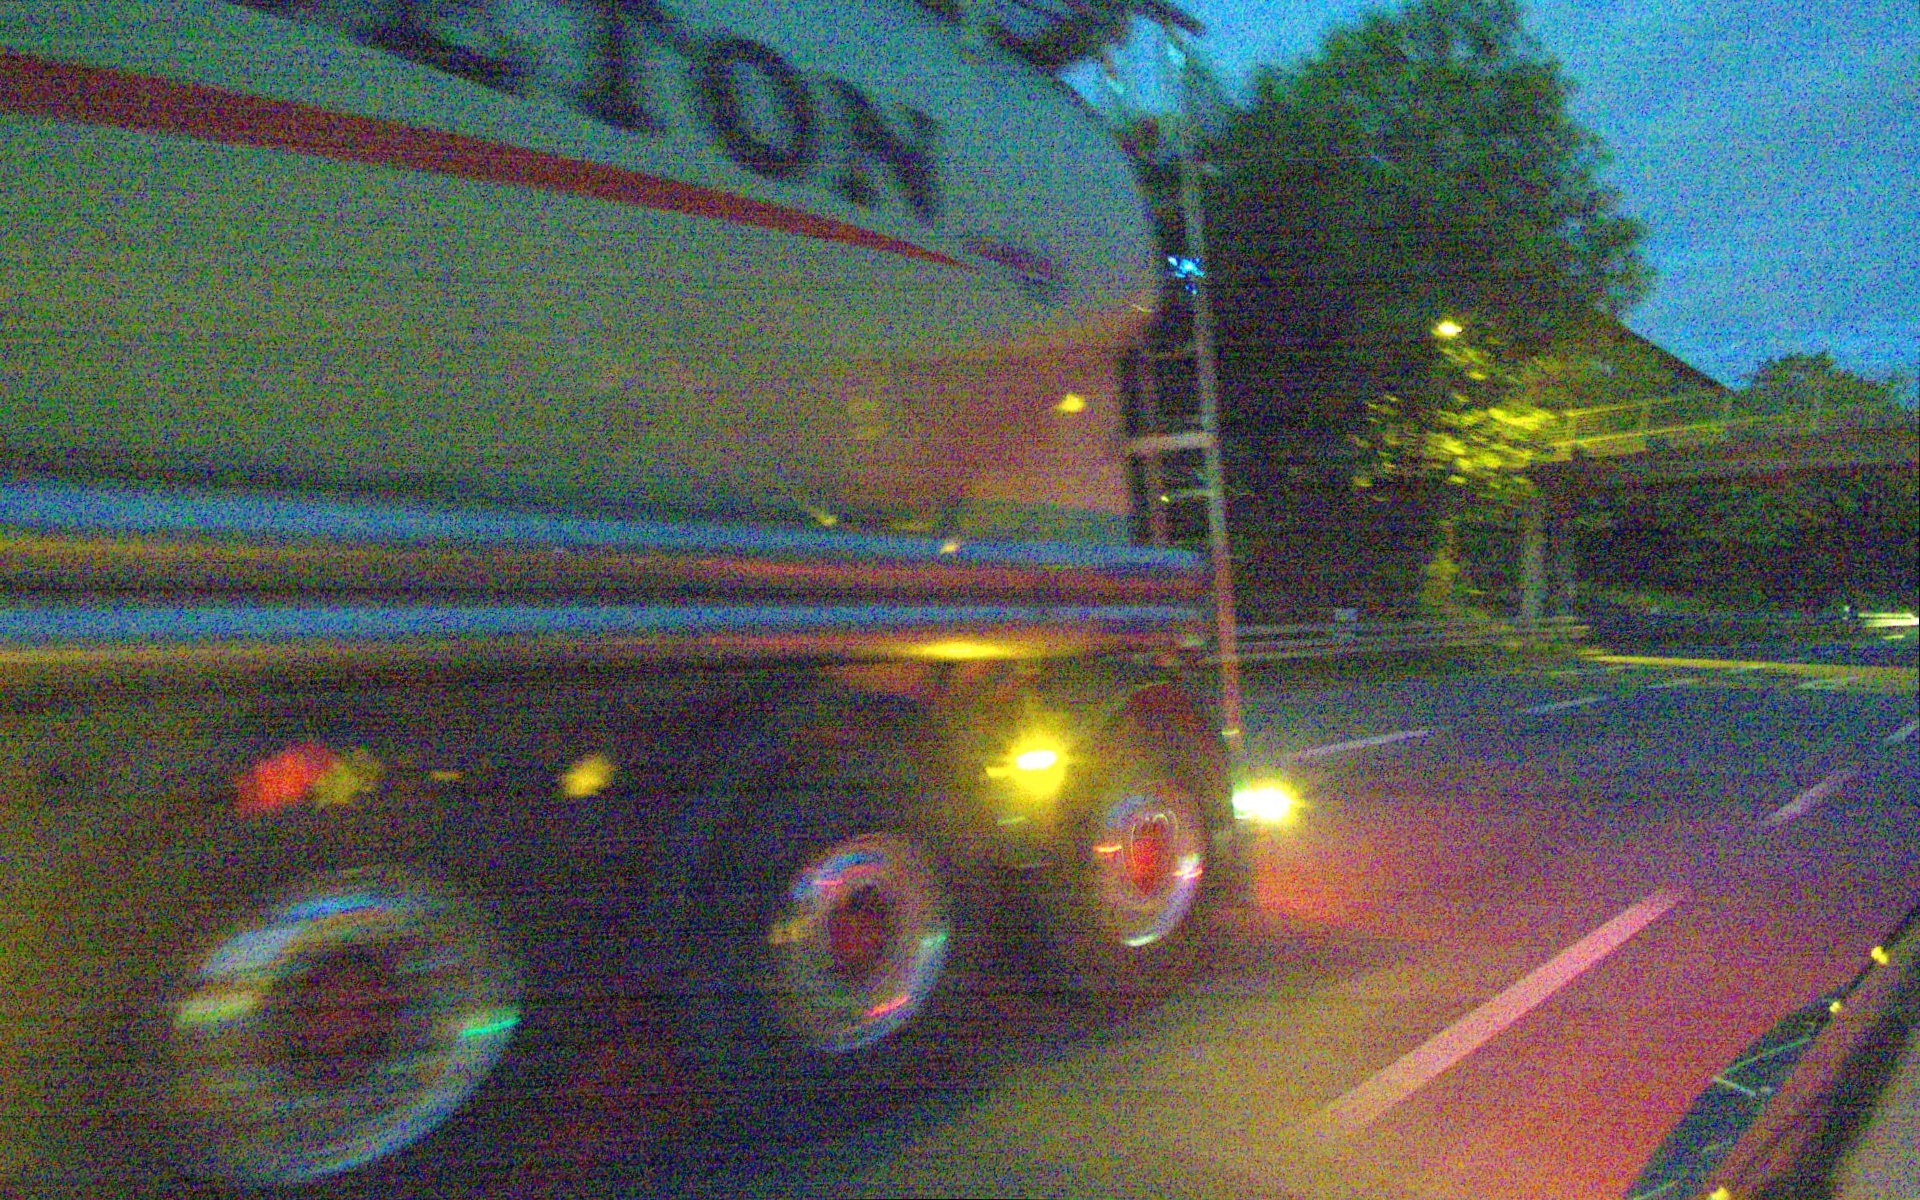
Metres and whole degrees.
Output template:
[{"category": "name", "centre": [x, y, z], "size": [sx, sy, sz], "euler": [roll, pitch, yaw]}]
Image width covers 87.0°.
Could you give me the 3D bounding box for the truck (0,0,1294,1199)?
[{"category": "truck", "centre": [-4.440, -0.660, 0.735], "size": [12.911, 4.158, 2.692], "euler": [0, 0, -41]}]
